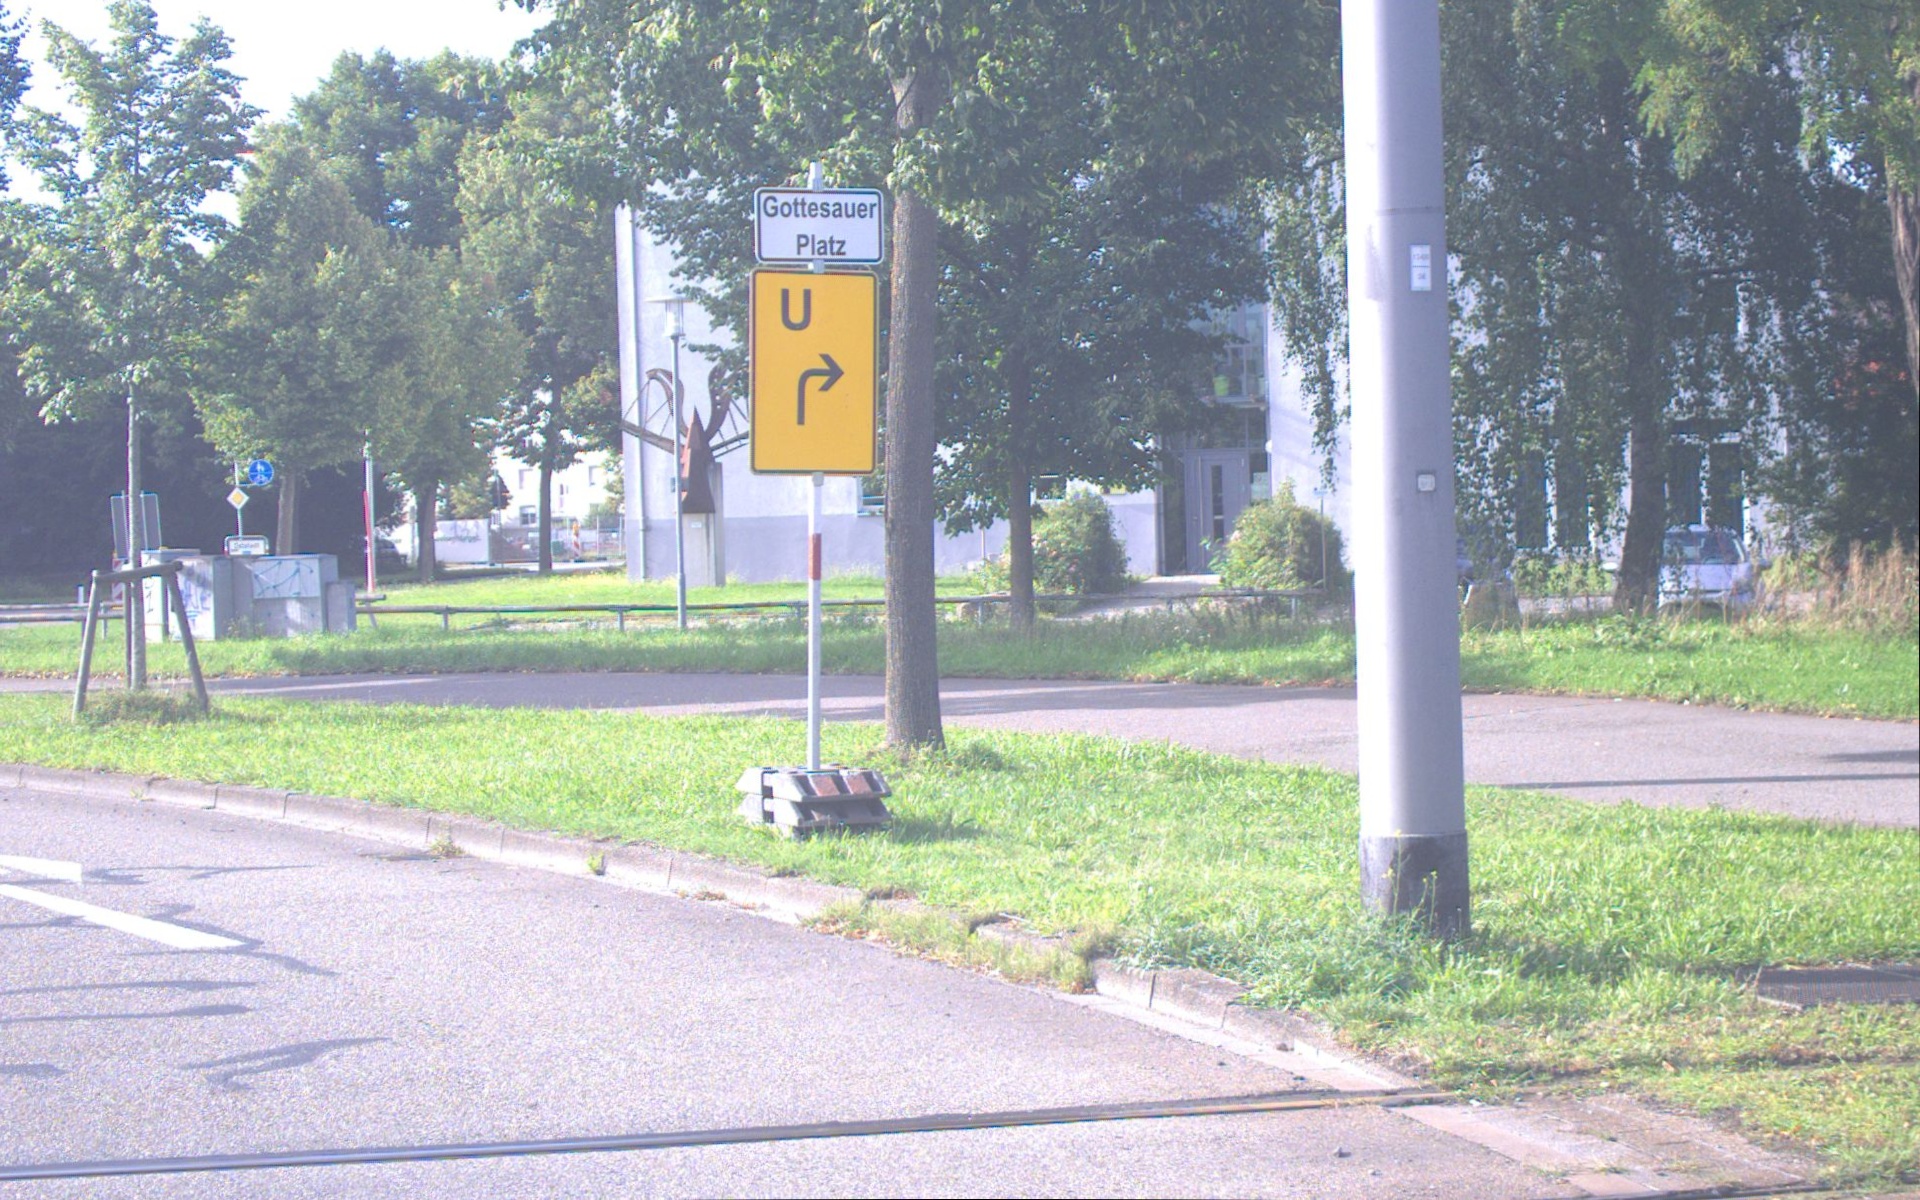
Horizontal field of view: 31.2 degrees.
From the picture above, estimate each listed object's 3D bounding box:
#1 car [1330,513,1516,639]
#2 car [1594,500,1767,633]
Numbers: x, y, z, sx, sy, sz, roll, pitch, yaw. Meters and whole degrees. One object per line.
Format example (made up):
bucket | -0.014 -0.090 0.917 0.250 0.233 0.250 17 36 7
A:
car | 5.639 -0.330 41.462 1.856 1.376 4.513 -2 1 12
car | 8.521 -0.436 40.667 1.856 1.435 4.731 -2 1 12
